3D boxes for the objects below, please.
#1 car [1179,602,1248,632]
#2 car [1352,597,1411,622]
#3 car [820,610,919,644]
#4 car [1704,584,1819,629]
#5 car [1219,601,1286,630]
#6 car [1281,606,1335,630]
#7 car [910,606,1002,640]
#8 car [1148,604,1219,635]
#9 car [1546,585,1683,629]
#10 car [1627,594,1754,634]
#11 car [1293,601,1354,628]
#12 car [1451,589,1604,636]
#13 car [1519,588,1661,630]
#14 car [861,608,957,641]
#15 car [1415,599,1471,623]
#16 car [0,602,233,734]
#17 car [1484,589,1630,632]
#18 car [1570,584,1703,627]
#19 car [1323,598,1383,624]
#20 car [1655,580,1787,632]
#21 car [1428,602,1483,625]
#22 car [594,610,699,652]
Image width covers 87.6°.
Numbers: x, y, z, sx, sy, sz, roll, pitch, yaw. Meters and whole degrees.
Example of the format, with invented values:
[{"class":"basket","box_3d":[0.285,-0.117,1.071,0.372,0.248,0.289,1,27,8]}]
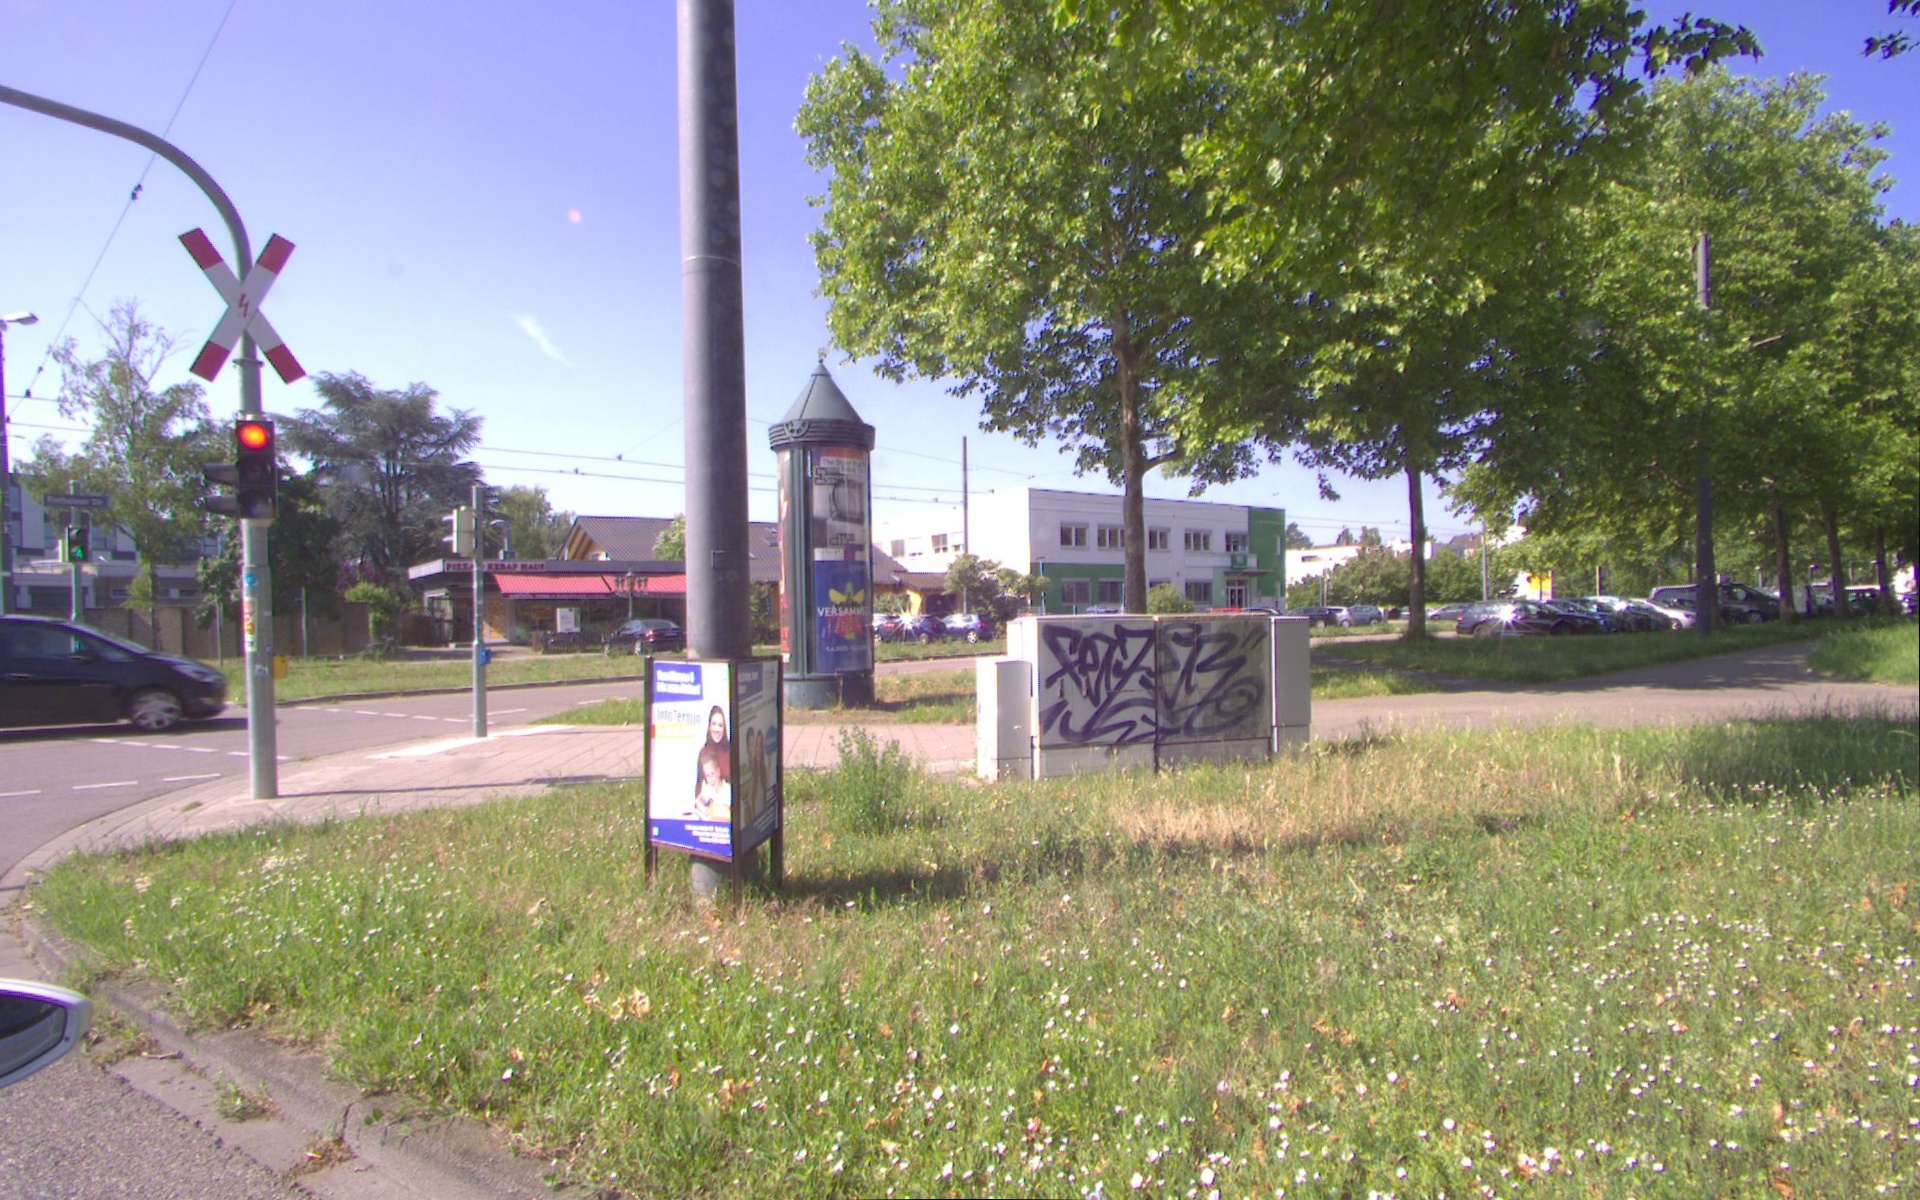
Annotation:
[{"class":"car","box_3d":[15.985,1.082,63.148,3.934,1.816,1.995,-1,-2,24]},{"class":"car","box_3d":[31.294,0.733,74.360,3.934,1.816,1.995,-1,-2,24]},{"class":"car","box_3d":[-4.221,1.257,46.788,4.139,1.518,2.136,-2,-1,26]},{"class":"car","box_3d":[41.690,0.359,52.139,4.542,2.238,1.982,-1,0,44]},{"class":"car","box_3d":[18.880,1.011,64.588,3.934,1.816,1.995,-1,-2,24]},{"class":"car","box_3d":[23.612,1.222,67.974,3.383,1.556,1.565,-1,0,18]},{"class":"car","box_3d":[-0.193,1.168,50.592,4.139,1.640,2.136,-1,-1,26]},{"class":"car","box_3d":[13.745,1.215,61.466,3.934,1.816,1.995,-1,-2,24]},{"class":"car","box_3d":[26.046,0.308,39.928,4.309,1.654,1.982,-1,-2,44]},{"class":"car","box_3d":[32.262,0.620,44.288,4.309,1.654,1.982,-1,0,44]},{"class":"car","box_3d":[25.656,1.025,70.611,3.934,1.816,1.995,-1,-2,24]},{"class":"car","box_3d":[19.721,0.444,34.909,4.310,1.510,1.982,-2,-1,44]},{"class":"car","box_3d":[24.034,0.351,38.286,4.309,1.510,1.982,-1,0,44]},{"class":"car","box_3d":[-2.461,1.217,48.679,4.139,1.518,2.136,-2,-1,26]},{"class":"car","box_3d":[38.939,0.890,80.782,3.934,1.816,1.995,-1,-2,24]},{"class":"car","box_3d":[-12.361,0.886,13.663,3.951,1.676,1.781,1,-1,-37]},{"class":"car","box_3d":[21.860,0.398,36.766,4.309,1.510,1.982,-1,0,44]},{"class":"car","box_3d":[27.949,0.249,41.428,4.309,1.654,1.982,-1,0,44]},{"class":"car","box_3d":[28.261,0.816,72.032,3.934,1.816,1.995,-1,-2,24]},{"class":"car","box_3d":[35.175,0.304,46.380,1.978,2.320,4.550,-1,0,-41]},{"class":"car","box_3d":[40.908,1.167,82.814,3.934,1.816,1.995,-1,-2,24]},{"class":"car","box_3d":[-12.797,1.289,40.687,2.121,1.518,5.073,-1,-2,-43]}]
